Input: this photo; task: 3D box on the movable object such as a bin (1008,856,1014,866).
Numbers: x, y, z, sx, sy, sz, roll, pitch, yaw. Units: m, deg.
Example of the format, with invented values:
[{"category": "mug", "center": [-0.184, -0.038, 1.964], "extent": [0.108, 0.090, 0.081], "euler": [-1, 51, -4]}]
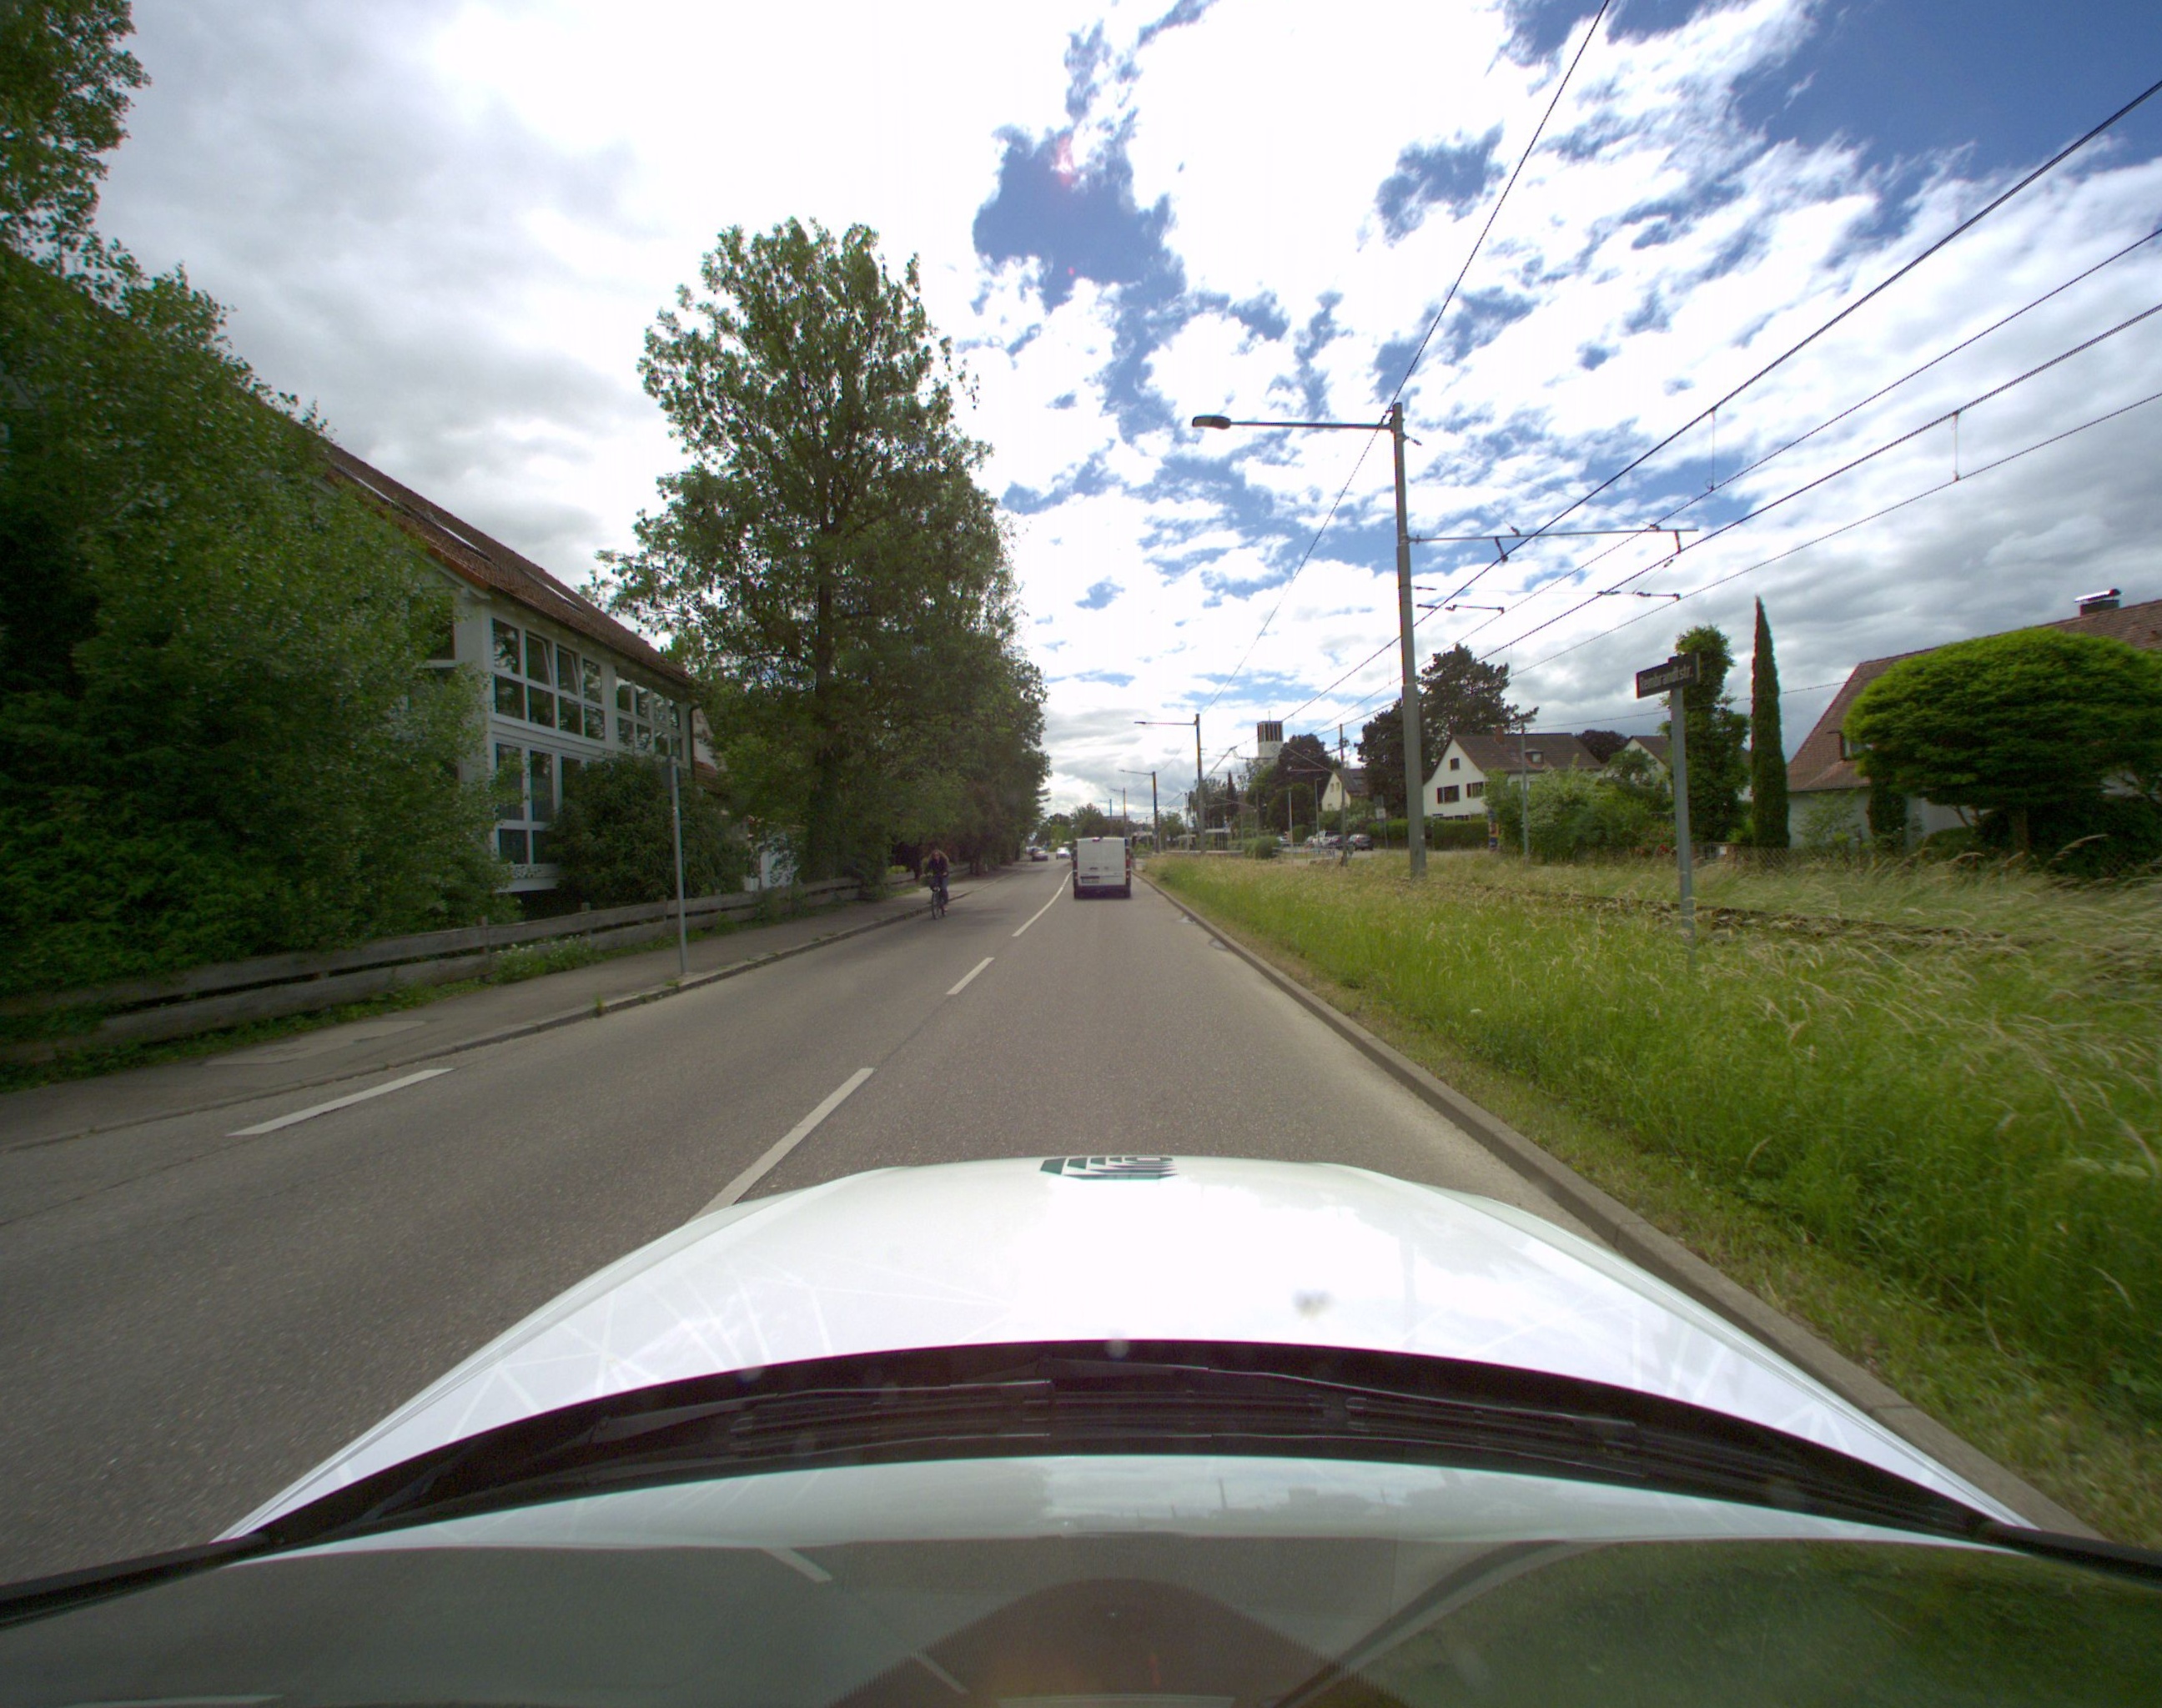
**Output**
[{"category": "movable object such as a bin", "center": [-6.685, 0.650, 77.942], "extent": [0.463, 0.930, 0.428], "euler": [1, -1, -16]}]

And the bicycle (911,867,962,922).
[{"category": "bicycle", "center": [-3.709, 1.009, 21.120], "extent": [0.752, 1.226, 2.309], "euler": [-4, 0, 2]}]

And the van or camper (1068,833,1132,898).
[{"category": "van or camper", "center": [0.685, 0.353, 27.664], "extent": [1.986, 2.013, 4.448], "euler": [-1, 0, 2]}]

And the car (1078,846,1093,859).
[{"category": "car", "center": [0.575, -0.159, 108.327], "extent": [1.847, 1.648, 3.733], "euler": [-2, 0, -1]}]

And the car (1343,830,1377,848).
[{"category": "car", "center": [25.449, -1.347, 74.342], "extent": [1.876, 1.522, 4.003], "euler": [-2, 0, 3]}]

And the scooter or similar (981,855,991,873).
[{"category": "scooter or similar", "center": [-6.549, 0.684, 56.088], "extent": [0.407, 1.199, 1.640], "euler": [-2, 0, 3]}]

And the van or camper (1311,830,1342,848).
[{"category": "van or camper", "center": [25.693, -1.535, 85.413], "extent": [1.898, 1.825, 5.051], "euler": [-2, 0, 3]}]

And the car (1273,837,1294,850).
[{"category": "car", "center": [26.555, -1.386, 107.088], "extent": [1.876, 1.522, 4.003], "euler": [-2, 0, 3]}]

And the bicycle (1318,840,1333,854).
[{"category": "bicycle", "center": [19.505, -0.568, 64.917], "extent": [0.536, 1.045, 2.542], "euler": [-2, 0, 3]}]

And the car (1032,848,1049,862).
[{"category": "car", "center": [-4.850, 0.061, 97.381], "extent": [1.734, 1.504, 4.470], "euler": [-4, 1, -4]}]

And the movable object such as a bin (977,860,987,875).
[{"category": "movable object such as a bin", "center": [-6.172, 0.823, 50.596], "extent": [0.511, 0.945, 0.569], "euler": [-1, 0, 1]}]

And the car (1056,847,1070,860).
[{"category": "car", "center": [-2.290, -0.077, 104.830], "extent": [1.689, 1.430, 3.784], "euler": [-4, 0, -2]}]

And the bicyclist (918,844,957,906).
[{"category": "bicyclist", "center": [-3.729, 0.537, 21.285], "extent": [0.775, 1.549, 0.870], "euler": [-2, 0, 1]}]

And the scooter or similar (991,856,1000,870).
[{"category": "scooter or similar", "center": [-6.787, 0.688, 64.335], "extent": [0.478, 1.081, 1.207], "euler": [-1, 0, -17]}]

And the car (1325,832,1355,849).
[{"category": "car", "center": [25.534, -1.334, 80.423], "extent": [1.876, 1.522, 4.003], "euler": [-2, 0, 3]}]
